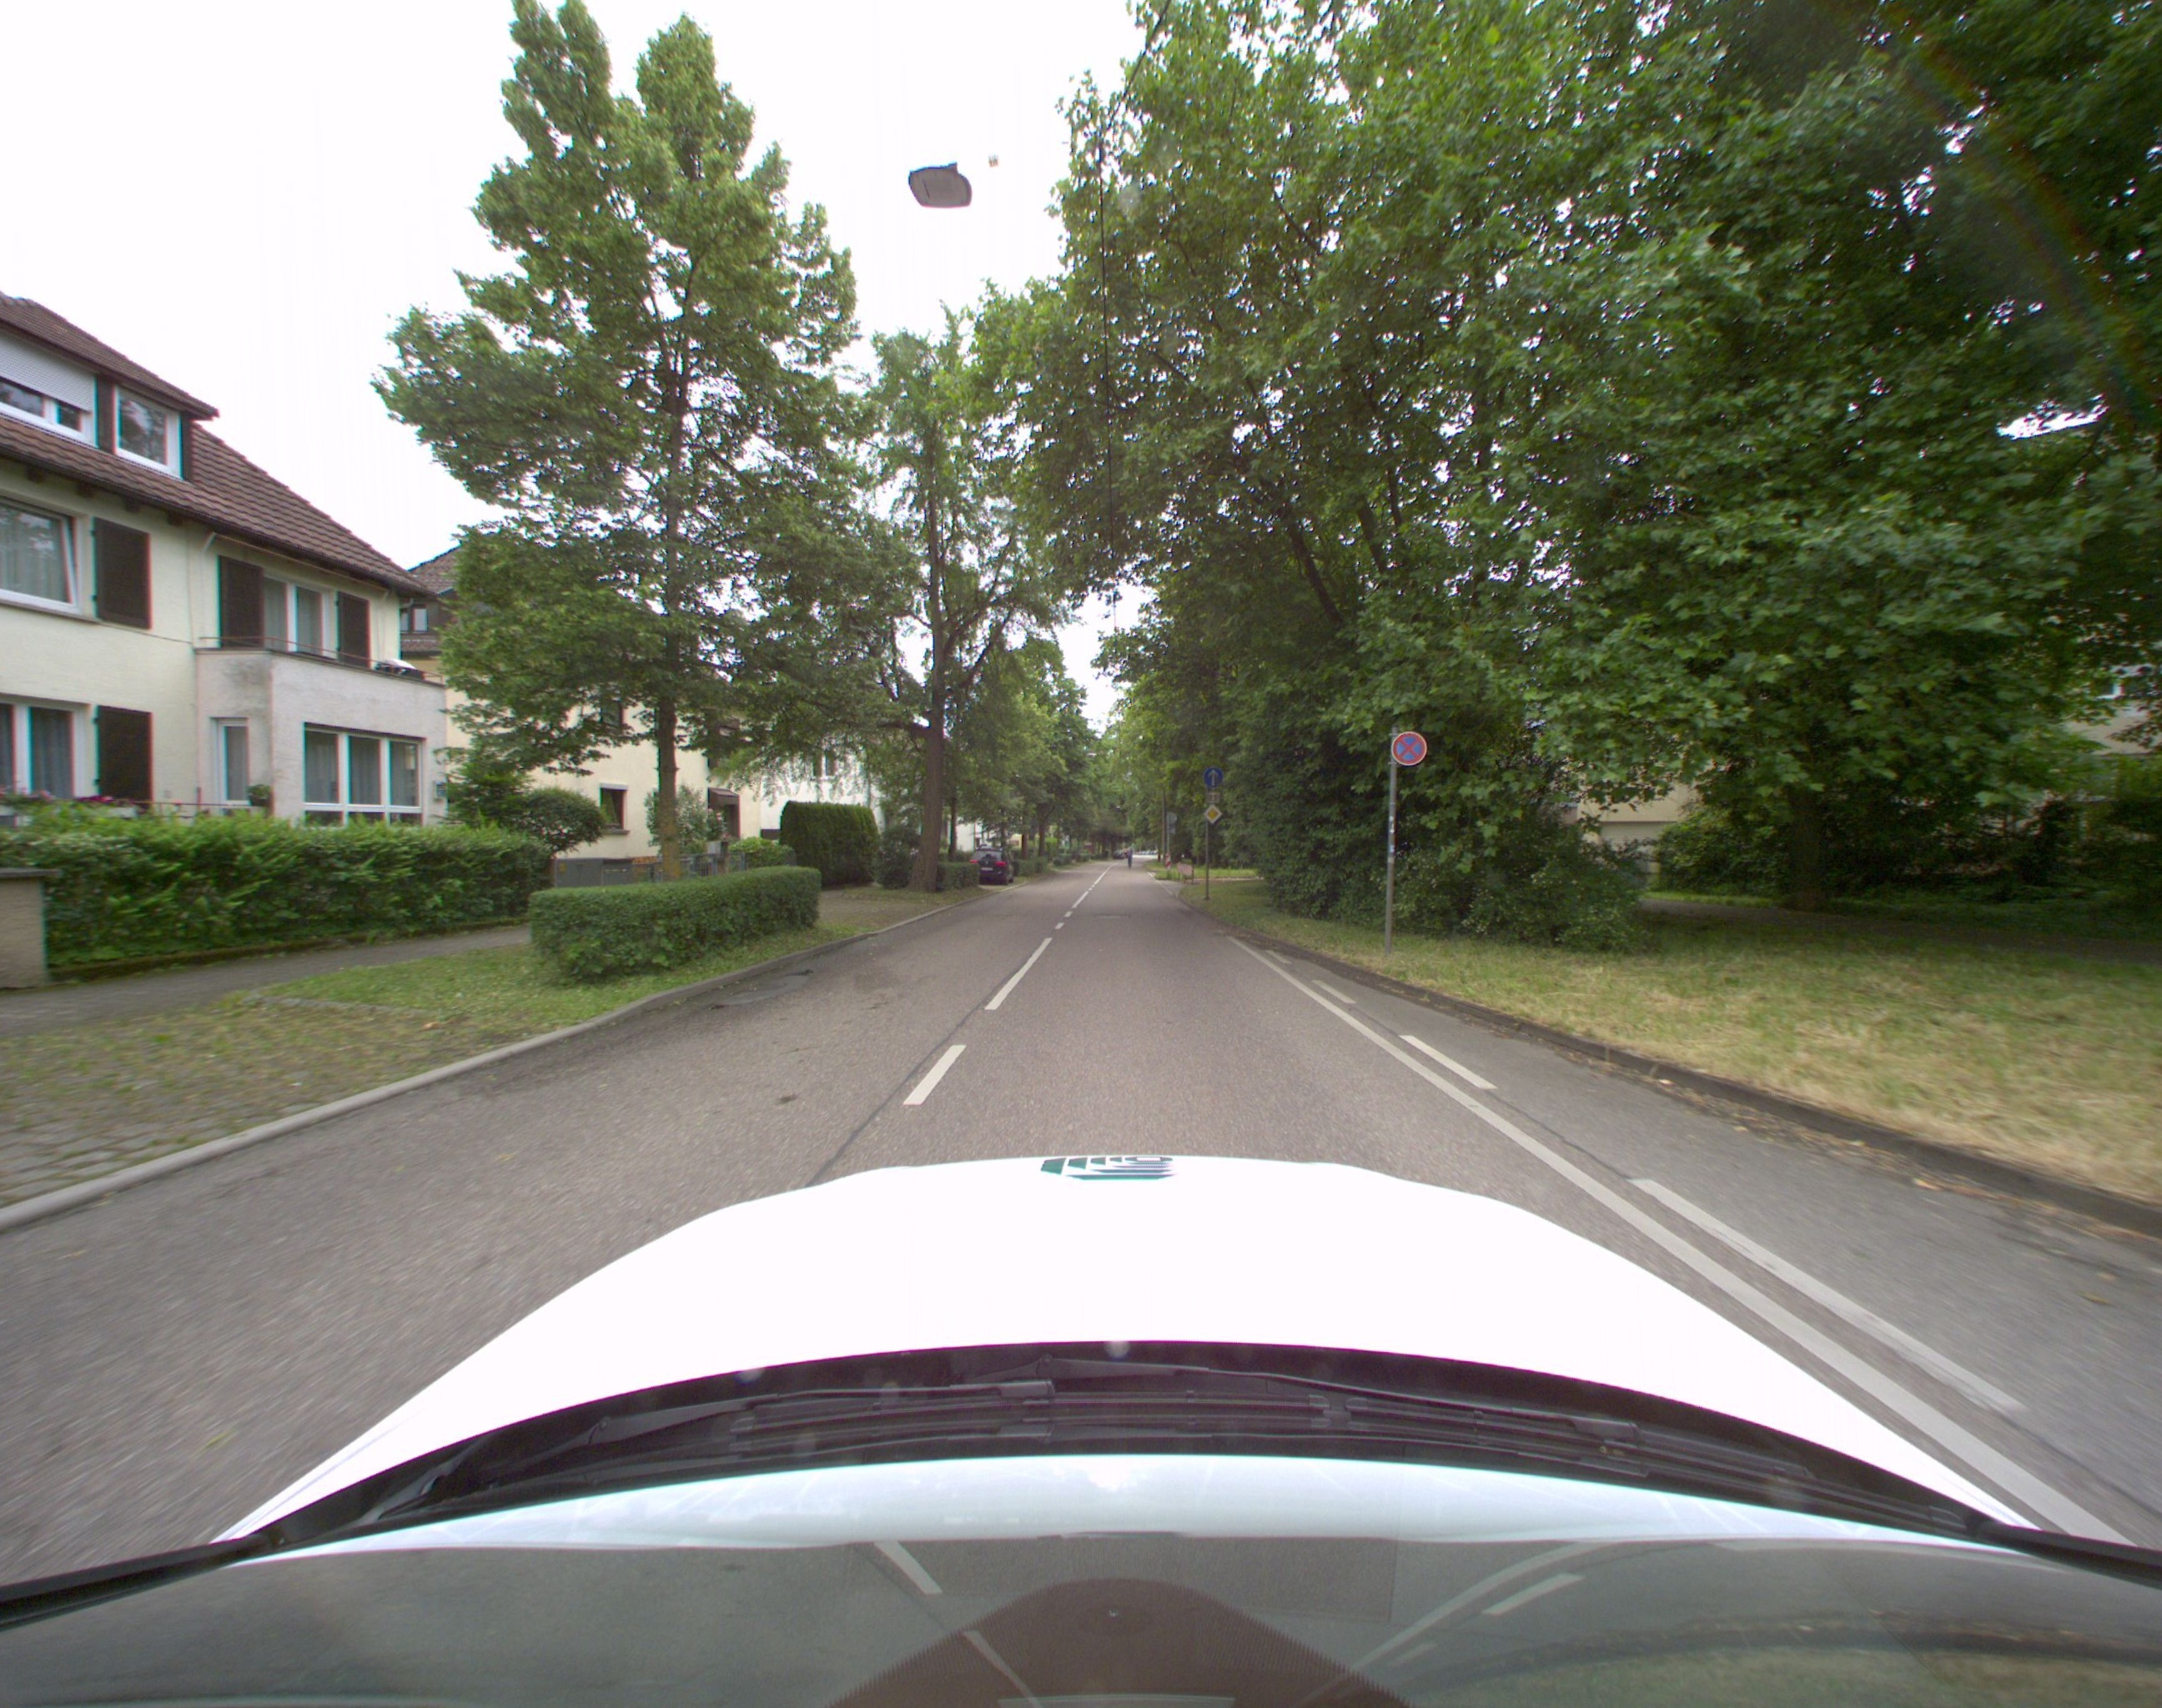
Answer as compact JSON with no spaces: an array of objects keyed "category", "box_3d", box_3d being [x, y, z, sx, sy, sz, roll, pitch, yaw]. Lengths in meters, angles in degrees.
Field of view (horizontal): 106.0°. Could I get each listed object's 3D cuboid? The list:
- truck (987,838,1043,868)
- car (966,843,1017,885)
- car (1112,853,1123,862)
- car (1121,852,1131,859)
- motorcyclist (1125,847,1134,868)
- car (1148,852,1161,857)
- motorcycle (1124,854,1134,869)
[{"category":"truck","box_3d":[-7.080,-0.159,87.990,5.772,3.131,2.520,1,0,2]},{"category":"car","box_3d":[-4.041,0.425,37.312,1.819,1.754,4.452,1,0,0]},{"category":"car","box_3d":[6.541,0.619,144.975,1.786,1.472,4.423,0,0,4]},{"category":"car","box_3d":[9.681,0.368,175.697,1.882,1.410,4.562,-1,-1,7]},{"category":"motorcyclist","box_3d":[4.203,0.319,70.962,0.669,1.761,0.640,2,0,7]},{"category":"car","box_3d":[23.040,0.036,256.206,3.970,1.510,1.802,0,0,3]},{"category":"motorcycle","box_3d":[4.175,0.657,70.826,0.669,1.217,1.276,2,0,7]}]
